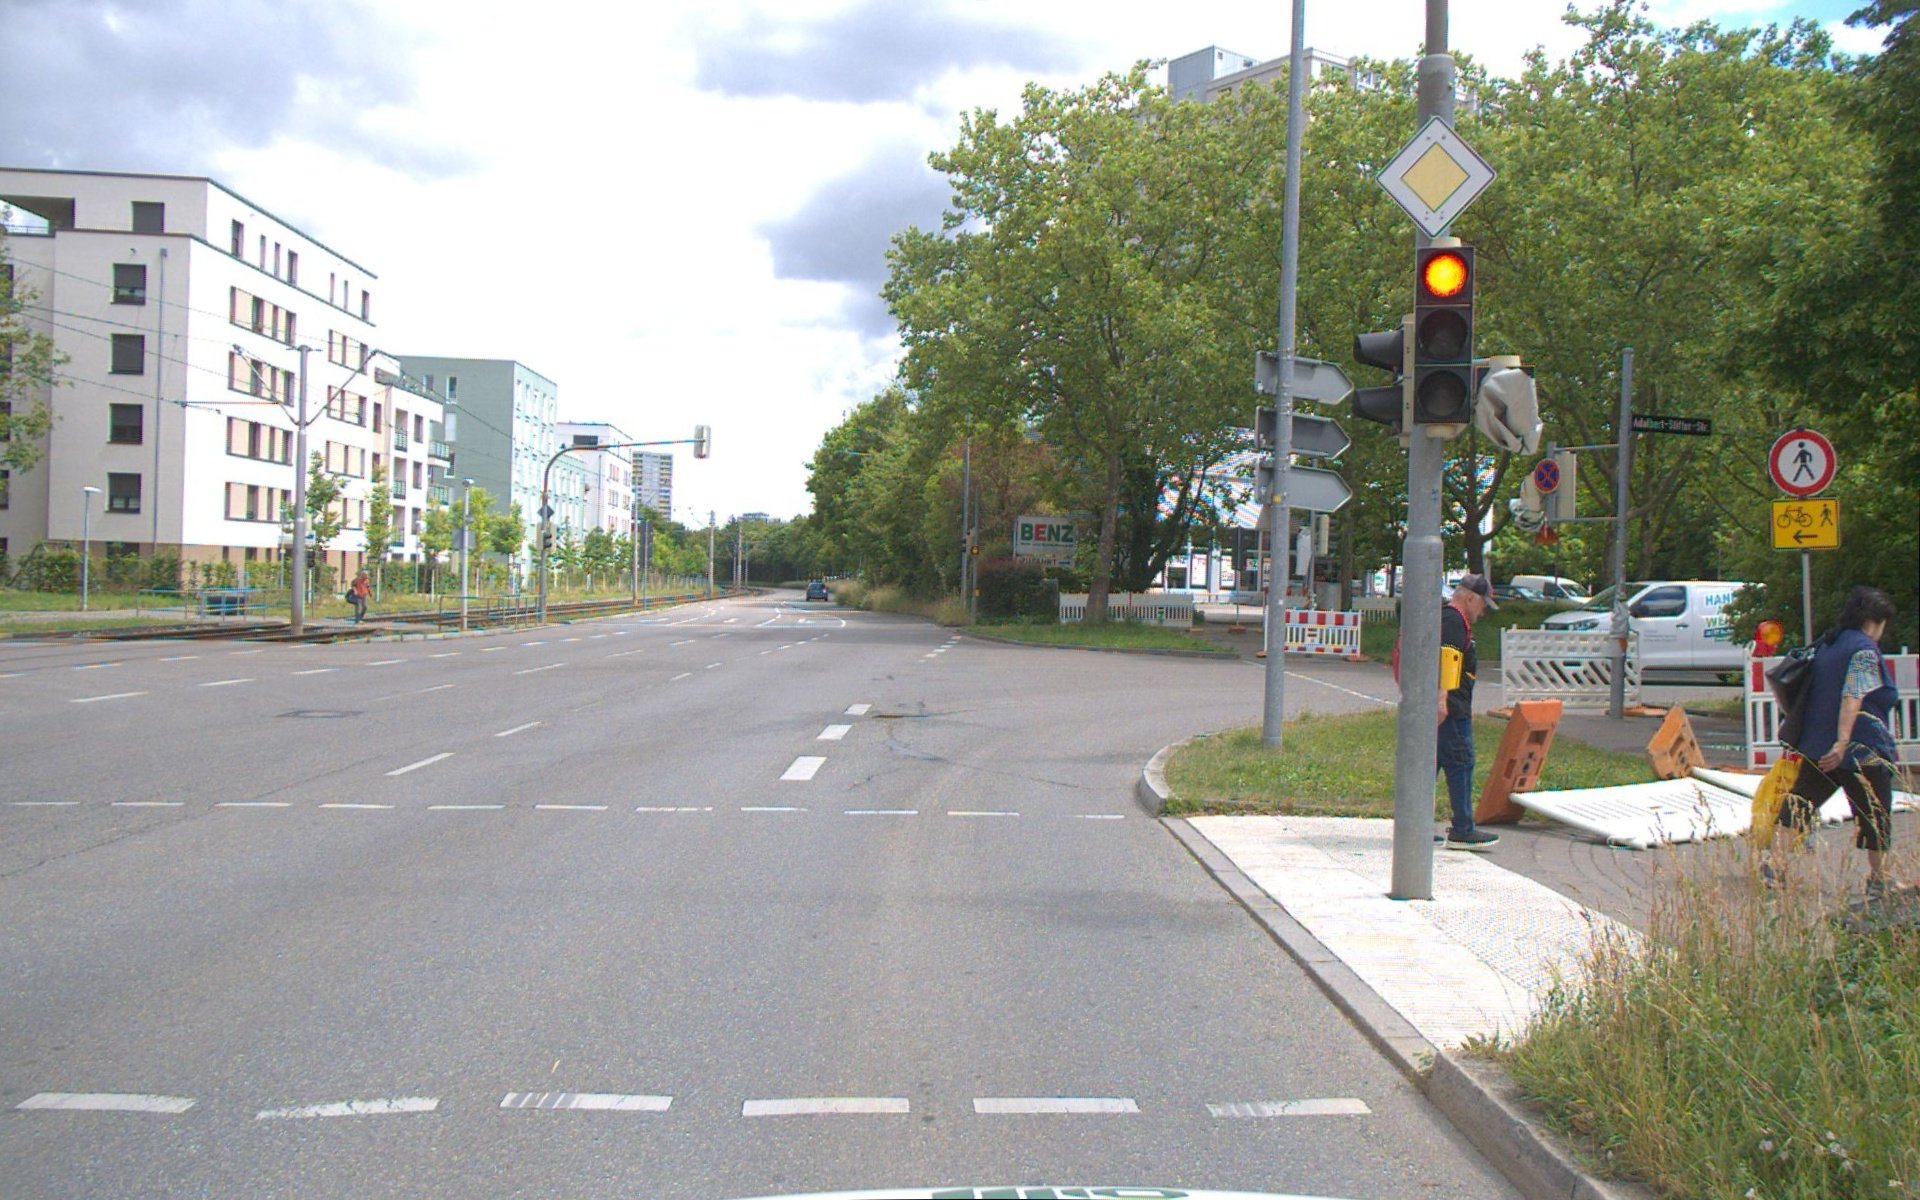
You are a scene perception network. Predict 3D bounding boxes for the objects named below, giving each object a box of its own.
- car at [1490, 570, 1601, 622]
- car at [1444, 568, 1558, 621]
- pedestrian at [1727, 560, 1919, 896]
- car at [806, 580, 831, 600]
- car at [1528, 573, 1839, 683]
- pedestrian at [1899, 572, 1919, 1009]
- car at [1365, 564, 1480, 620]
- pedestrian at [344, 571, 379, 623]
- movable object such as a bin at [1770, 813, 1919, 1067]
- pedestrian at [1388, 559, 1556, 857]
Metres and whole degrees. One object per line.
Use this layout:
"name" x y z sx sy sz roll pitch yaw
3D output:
"car" 23.935 -0.180 67.696 1.974 2.049 3.957 0 1 -32
"car" 21.367 -0.233 65.460 1.974 2.049 3.957 0 1 -32
"pedestrian" 4.545 0.620 8.624 0.893 1.635 0.929 1 0 20
"car" -11.521 -0.829 134.220 1.944 1.512 4.485 1 1 -6
"car" 13.427 0.501 30.860 4.976 1.906 1.947 1 0 -5
"pedestrian" 3.920 0.699 5.755 0.863 1.582 0.746 1 0 -1
"car" 17.523 -0.313 62.826 1.974 2.049 3.957 0 1 -32
"pedestrian" -18.042 -0.088 49.837 0.814 1.542 0.636 1 0 -1
"movable object such as a bin" 3.279 1.105 5.503 0.779 0.673 0.778 1 0 -1
"pedestrian" 2.964 0.584 9.604 0.874 1.624 0.908 1 0 17
